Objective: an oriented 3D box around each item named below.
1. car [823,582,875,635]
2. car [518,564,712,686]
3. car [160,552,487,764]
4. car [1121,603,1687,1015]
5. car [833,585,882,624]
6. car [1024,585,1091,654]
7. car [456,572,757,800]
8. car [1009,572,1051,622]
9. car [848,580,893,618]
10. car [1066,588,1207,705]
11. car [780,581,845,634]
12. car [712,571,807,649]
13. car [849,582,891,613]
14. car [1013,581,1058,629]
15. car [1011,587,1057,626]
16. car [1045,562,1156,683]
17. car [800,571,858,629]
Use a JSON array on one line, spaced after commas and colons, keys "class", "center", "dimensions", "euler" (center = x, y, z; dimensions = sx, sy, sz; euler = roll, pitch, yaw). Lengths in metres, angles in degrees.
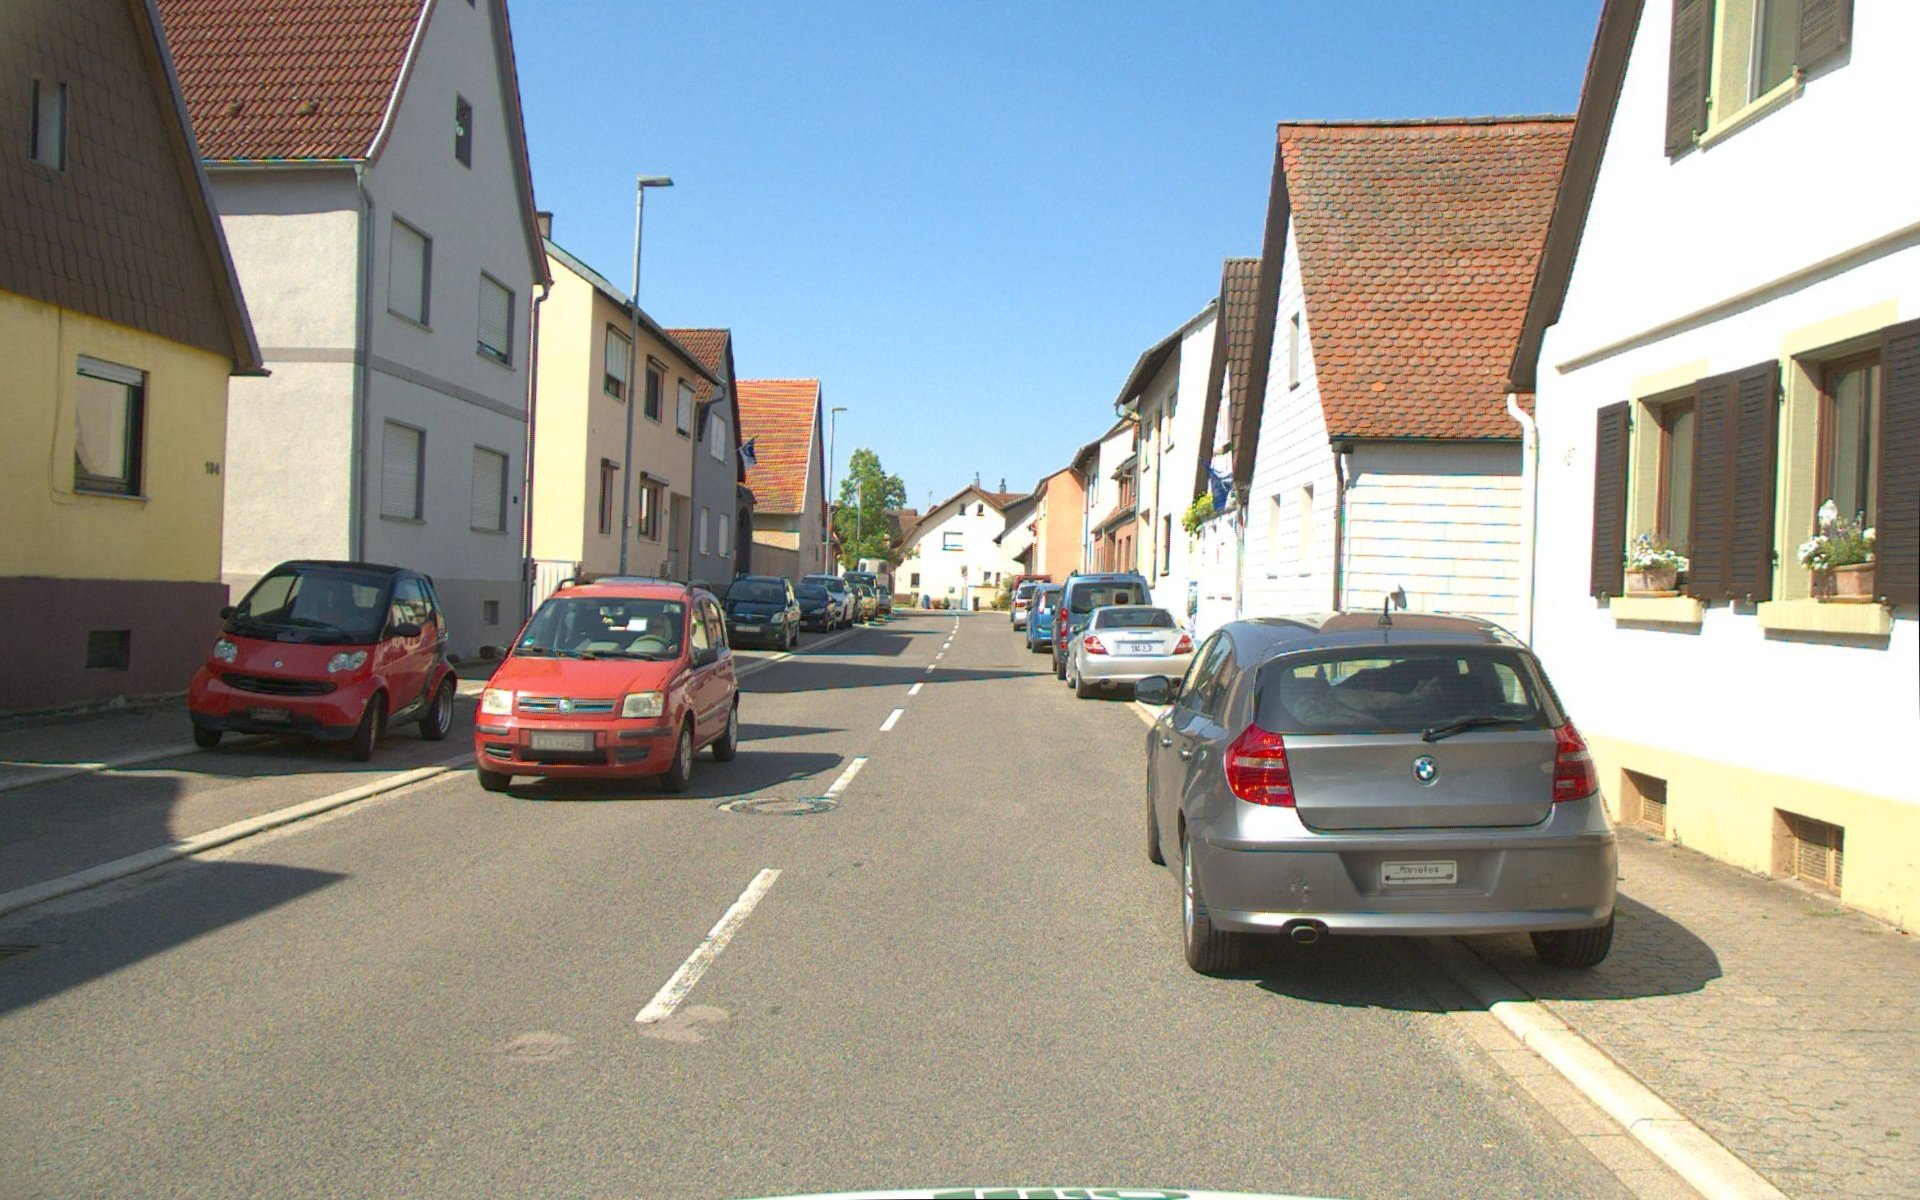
[{"class": "car", "center": [-3.962, 0.291, 59.409], "dimensions": [1.496, 1.743, 3.626], "euler": [3, 0, 0]}, {"class": "car", "center": [-5.056, 0.349, 24.863], "dimensions": [1.769, 1.574, 4.405], "euler": [3, 0, 2]}, {"class": "car", "center": [-5.385, 0.453, 14.370], "dimensions": [1.520, 1.571, 2.988], "euler": [3, 0, 2]}, {"class": "car", "center": [1.776, 0.750, 7.857], "dimensions": [1.669, 1.458, 3.889], "euler": [0, 0, 0]}, {"class": "car", "center": [-4.141, 0.182, 67.260], "dimensions": [1.718, 1.467, 4.000], "euler": [2, 0, 0]}, {"class": "car", "center": [2.344, 0.459, 40.386], "dimensions": [1.391, 1.541, 3.304], "euler": [3, 0, 0]}, {"class": "car", "center": [-2.702, 0.599, 13.417], "dimensions": [1.568, 1.515, 3.626], "euler": [3, 0, 0]}, {"class": "car", "center": [2.989, -0.116, 71.244], "dimensions": [1.730, 2.039, 3.450], "euler": [2, 0, 2]}, {"class": "car", "center": [-4.034, -0.026, 74.864], "dimensions": [1.718, 1.653, 4.000], "euler": [2, 0, 0]}, {"class": "car", "center": [2.541, 0.637, 24.531], "dimensions": [1.670, 1.522, 3.452], "euler": [3, 0, 0]}, {"class": "car", "center": [-4.331, 0.227, 48.953], "dimensions": [1.473, 1.478, 3.509], "euler": [2, 0, 1]}, {"class": "car", "center": [-4.531, 0.219, 37.833], "dimensions": [1.586, 1.605, 3.961], "euler": [3, 0, 0]}, {"class": "car", "center": [-4.556, -0.101, 84.369], "dimensions": [1.718, 1.467, 4.001], "euler": [2, 0, 2]}, {"class": "car", "center": [2.634, 0.171, 58.092], "dimensions": [1.391, 1.541, 3.304], "euler": [3, 0, 0]}, {"class": "car", "center": [2.906, 0.270, 65.780], "dimensions": [1.730, 1.458, 3.450], "euler": [2, 0, 2]}, {"class": "car", "center": [2.446, 0.372, 29.516], "dimensions": [1.615, 1.943, 3.626], "euler": [3, 0, 0]}, {"class": "car", "center": [-4.263, 0.001, 54.034], "dimensions": [1.496, 1.743, 3.626], "euler": [3, 0, 0]}]
